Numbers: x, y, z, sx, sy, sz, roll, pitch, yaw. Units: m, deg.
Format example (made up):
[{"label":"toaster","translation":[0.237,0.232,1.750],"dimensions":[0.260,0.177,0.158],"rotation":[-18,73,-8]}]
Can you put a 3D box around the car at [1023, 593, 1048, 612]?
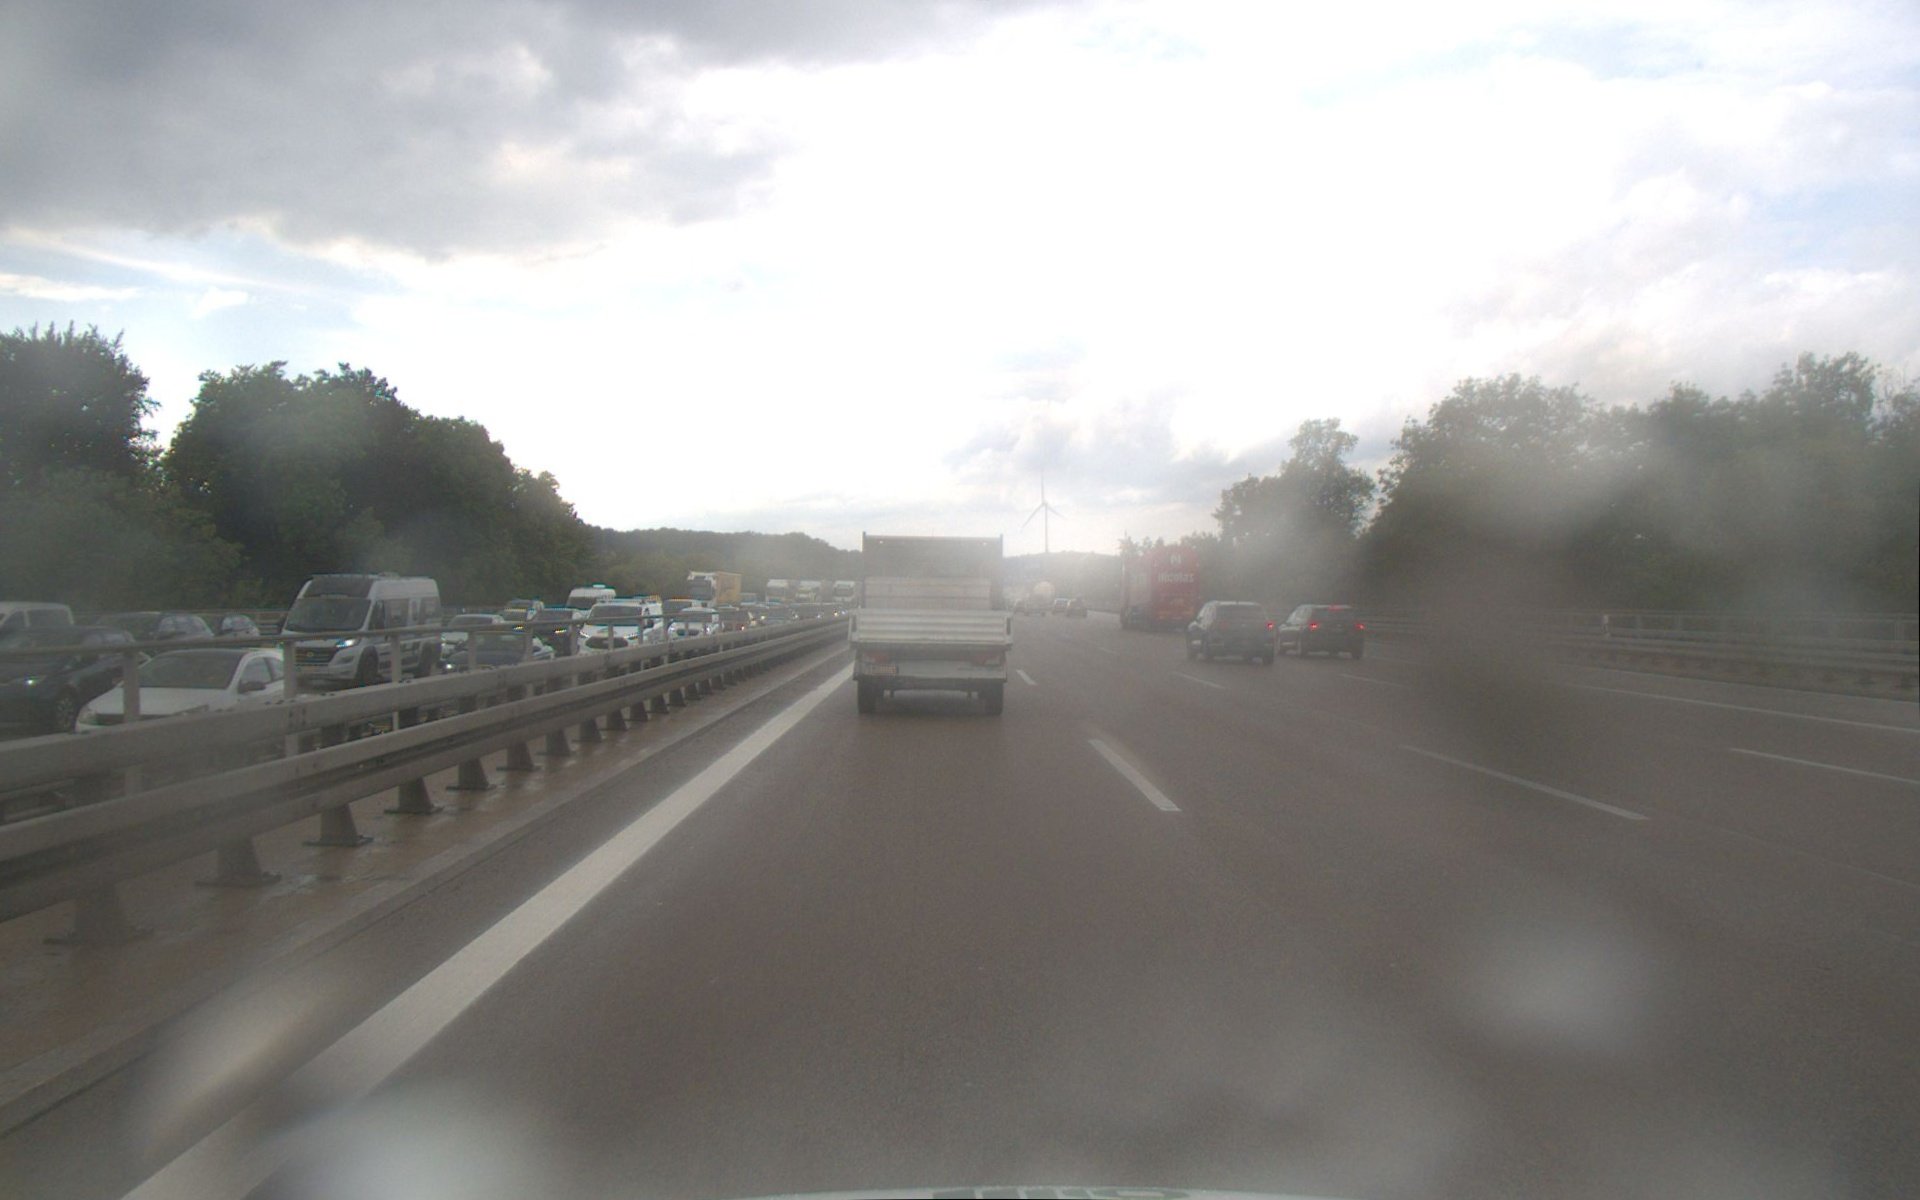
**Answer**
[{"label":"car","translation":[6.903,0.185,151.584],"dimensions":[2.055,1.729,3.999],"rotation":[0,0,-1]}]

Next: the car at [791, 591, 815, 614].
[{"label":"car","translation":[-17.754,0.280,187.383],"dimensions":[2.112,2.548,6.772],"rotation":[-1,0,0]}]

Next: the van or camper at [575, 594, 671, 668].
[{"label":"van or camper","translation":[-10.128,0.868,50.105],"dimensions":[1.943,2.104,5.641],"rotation":[0,0,-2]}]

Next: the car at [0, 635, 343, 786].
[{"label":"car","translation":[-9.970,1.290,21.338],"dimensions":[1.794,1.501,5.924],"rotation":[0,0,0]}]

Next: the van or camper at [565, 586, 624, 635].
[{"label":"van or camper","translation":[-21.999,0.578,99.741],"dimensions":[2.157,2.813,7.229],"rotation":[0,0,-2]}]

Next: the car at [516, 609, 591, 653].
[{"label":"car","translation":[-14.747,1.097,60.182],"dimensions":[1.643,1.433,5.014],"rotation":[0,0,-2]}]

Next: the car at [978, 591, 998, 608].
[{"label":"car","translation":[2.839,-0.064,168.856],"dimensions":[1.932,1.729,3.999],"rotation":[0,0,-1]}]

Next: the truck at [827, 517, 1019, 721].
[{"label":"truck","translation":[-0.529,0.214,23.858],"dimensions":[2.305,2.450,7.356],"rotation":[1,0,-1]}]

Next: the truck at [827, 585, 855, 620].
[{"label":"truck","translation":[-14.662,0.280,204.439],"dimensions":[2.821,4.253,7.557],"rotation":[-1,0,0]}]

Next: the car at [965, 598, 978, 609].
[{"label":"car","translation":[1.671,0.451,234.561],"dimensions":[1.775,1.471,3.999],"rotation":[0,0,-1]}]

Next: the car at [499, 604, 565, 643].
[{"label":"car","translation":[-17.403,0.943,67.361],"dimensions":[1.754,1.527,3.998],"rotation":[-1,0,-2]}]

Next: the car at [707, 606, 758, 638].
[{"label":"car","translation":[-10.829,1.020,78.974],"dimensions":[1.836,1.416,5.363],"rotation":[0,0,-2]}]

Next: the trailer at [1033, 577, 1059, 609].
[{"label":"trailer","translation":[11.788,-0.905,227.744],"dimensions":[3.263,4.249,11.841],"rotation":[1,0,2]}]

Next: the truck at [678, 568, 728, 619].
[{"label":"truck","translation":[-22.185,-0.552,142.996],"dimensions":[3.181,4.324,6.882],"rotation":[-1,0,0]}]

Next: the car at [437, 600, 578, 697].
[{"label":"car","translation":[-9.996,1.018,36.926],"dimensions":[1.908,1.983,4.724],"rotation":[0,0,-1]}]

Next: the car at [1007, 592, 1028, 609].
[{"label":"car","translation":[5.957,0.089,171.587],"dimensions":[2.003,1.729,4.000],"rotation":[0,0,0]}]

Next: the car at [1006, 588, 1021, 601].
[{"label":"car","translation":[7.416,-0.799,229.366],"dimensions":[1.952,1.769,4.001],"rotation":[1,0,1]}]

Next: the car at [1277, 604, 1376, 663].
[{"label":"car","translation":[10.370,0.914,47.050],"dimensions":[1.778,1.570,4.357],"rotation":[0,0,-1]}]

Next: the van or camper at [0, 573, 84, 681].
[{"label":"van or camper","translation":[-21.987,0.595,36.706],"dimensions":[2.004,2.370,5.933],"rotation":[0,0,-1]}]

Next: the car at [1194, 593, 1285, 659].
[{"label":"car","translation":[7.140,0.642,42.496],"dimensions":[1.755,1.590,3.722],"rotation":[1,0,1]}]

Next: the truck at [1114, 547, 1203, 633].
[{"label":"truck","translation":[10.155,-0.513,86.352],"dimensions":[3.087,4.073,15.639],"rotation":[0,0,1]}]

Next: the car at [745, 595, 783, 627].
[{"label":"car","translation":[-11.867,0.636,100.506],"dimensions":[1.828,1.858,5.707],"rotation":[0,0,-2]}]

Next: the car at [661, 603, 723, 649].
[{"label":"car","translation":[-10.658,1.019,66.159],"dimensions":[1.788,1.704,5.356],"rotation":[0,0,-2]}]

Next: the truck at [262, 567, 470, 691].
[{"label":"truck","translation":[-14.156,0.605,40.216],"dimensions":[2.103,2.648,8.753],"rotation":[0,0,-2]}]

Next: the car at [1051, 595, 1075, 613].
[{"label":"car","translation":[10.565,0.392,170.029],"dimensions":[2.004,1.729,5.006],"rotation":[0,0,-1]}]

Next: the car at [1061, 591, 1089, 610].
[{"label":"car","translation":[10.269,0.057,147.534],"dimensions":[2.062,1.634,5.064],"rotation":[0,0,-1]}]

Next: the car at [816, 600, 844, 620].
[{"label":"car","translation":[-10.280,0.802,131.238],"dimensions":[1.954,1.488,4.840],"rotation":[0,0,-2]}]

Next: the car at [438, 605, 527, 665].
[{"label":"car","translation":[-14.237,1.012,49.501],"dimensions":[1.643,1.664,3.998],"rotation":[0,0,-2]}]

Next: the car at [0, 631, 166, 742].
[{"label":"car","translation":[-14.171,1.286,25.726],"dimensions":[1.795,1.501,4.031],"rotation":[0,0,-2]}]

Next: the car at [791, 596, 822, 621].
[{"label":"car","translation":[-10.824,0.550,116.915],"dimensions":[1.830,1.699,5.172],"rotation":[0,0,-2]}]

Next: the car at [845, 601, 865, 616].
[{"label":"car","translation":[-9.956,0.787,157.452],"dimensions":[1.726,1.407,4.819],"rotation":[-1,0,-1]}]
